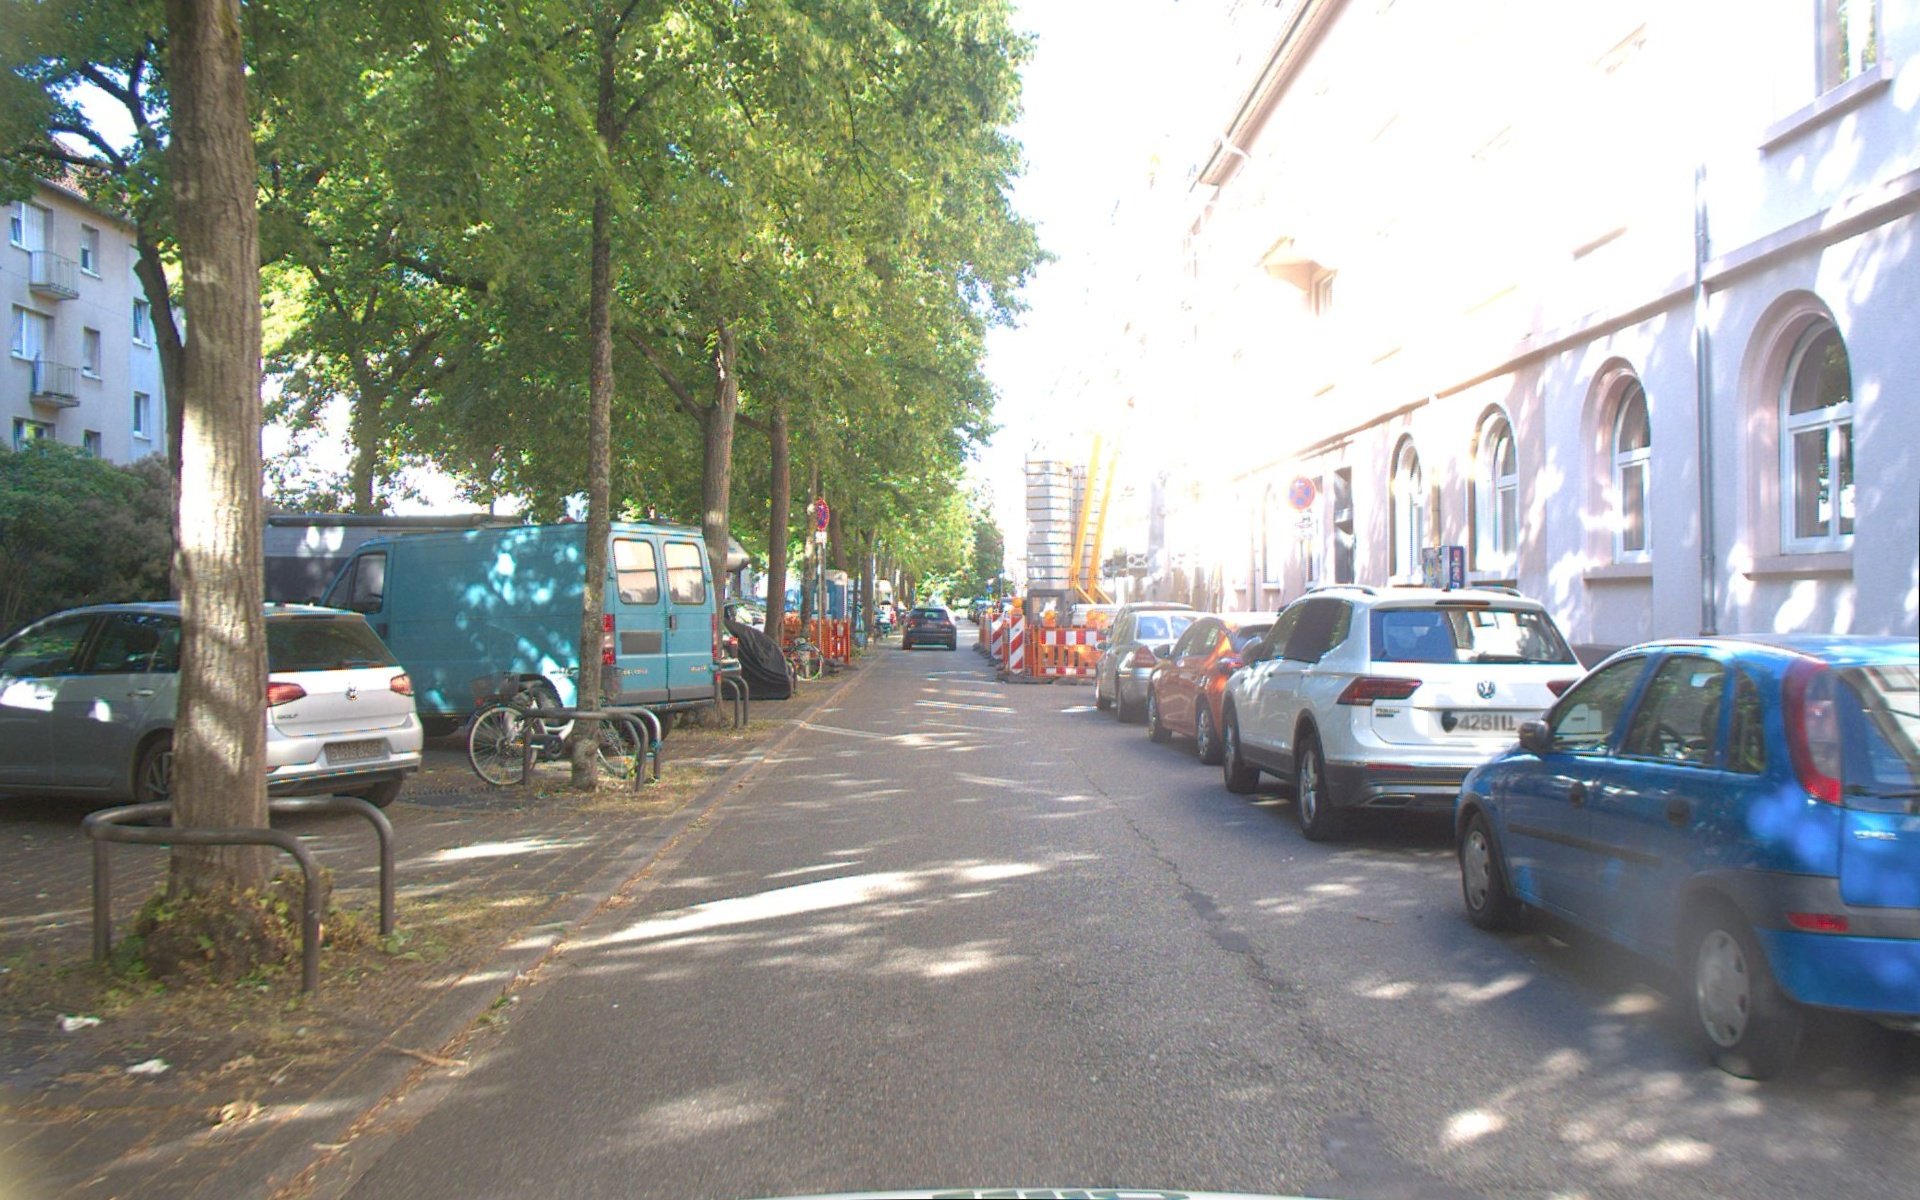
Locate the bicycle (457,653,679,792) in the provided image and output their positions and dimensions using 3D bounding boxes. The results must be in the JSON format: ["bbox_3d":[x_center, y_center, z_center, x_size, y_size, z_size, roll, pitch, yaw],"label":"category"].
[{"bbox_3d":[-3.198,0.975,13.558,1.702,1.023,0.506,-1,0,-31],"label":"bicycle"}]

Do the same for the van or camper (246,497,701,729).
[{"bbox_3d":[-6.359,0.175,21.443,5.756,2.683,2.252,-1,0,29],"label":"van or camper"}]

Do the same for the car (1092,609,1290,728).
[{"bbox_3d":[3.027,0.856,22.617,1.953,1.434,4.499,0,0,-2],"label":"car"}]

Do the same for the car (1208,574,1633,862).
[{"bbox_3d":[3.101,0.697,12.208,1.779,1.703,4.672,0,0,-1],"label":"car"}]

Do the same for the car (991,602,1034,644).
[{"bbox_3d":[2.444,1.054,77.453,1.760,1.832,3.584,-1,0,-2],"label":"car"}]

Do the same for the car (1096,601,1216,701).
[{"bbox_3d":[3.169,0.796,27.180,1.559,1.557,2.779,0,0,-2],"label":"car"}]

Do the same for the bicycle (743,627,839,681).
[{"bbox_3d":[-3.257,1.033,31.873,1.858,1.024,0.430,-1,0,23],"label":"bicycle"}]

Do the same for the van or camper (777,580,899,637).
[{"bbox_3d":[-5.630,0.387,76.207,5.235,2.518,2.288,-1,0,32],"label":"van or camper"}]

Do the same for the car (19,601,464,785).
[{"bbox_3d":[-6.527,0.756,14.951,3.911,1.456,1.718,0,0,30],"label":"car"}]

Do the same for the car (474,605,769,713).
[{"bbox_3d":[-4.881,0.804,23.806,3.876,1.439,1.821,-1,0,27],"label":"car"}]

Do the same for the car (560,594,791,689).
[{"bbox_3d":[-5.263,0.744,30.596,3.874,1.657,1.822,-1,0,25],"label":"car"}]

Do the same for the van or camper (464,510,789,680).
[{"bbox_3d":[-7.009,-0.067,34.536,6.528,3.297,2.492,-1,0,28],"label":"van or camper"}]

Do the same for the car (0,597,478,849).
[{"bbox_3d":[-5.446,0.732,11.441,3.867,1.468,1.844,0,0,27],"label":"car"}]

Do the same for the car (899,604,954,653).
[{"bbox_3d":[-1.133,0.921,55.254,1.760,1.530,3.584,-1,0,-2],"label":"car"}]

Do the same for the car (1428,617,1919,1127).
[{"bbox_3d":[3.263,0.817,6.766,1.584,1.437,3.787,0,0,-1],"label":"car"}]

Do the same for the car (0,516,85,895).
[{"bbox_3d":[-6.724,0.515,8.541,4.460,1.795,1.807,0,0,30],"label":"car"}]

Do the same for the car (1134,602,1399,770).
[{"bbox_3d":[3.086,0.805,17.489,1.756,1.550,3.959,0,0,-5],"label":"car"}]

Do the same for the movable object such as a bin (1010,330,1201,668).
[{"bbox_3d":[3.129,-2.061,35.566,3.415,6.878,2.363,0,-1,32],"label":"movable object such as a bin"}]

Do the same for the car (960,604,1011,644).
[{"bbox_3d":[0.949,0.887,63.004,1.760,1.409,3.584,-1,0,-2],"label":"car"}]

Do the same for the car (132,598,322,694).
[{"bbox_3d":[-15.266,0.902,34.768,1.780,1.835,4.846,-2,0,0],"label":"car"}]

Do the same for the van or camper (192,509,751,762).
[{"bbox_3d":[-5.092,0.355,17.211,5.386,2.315,2.220,-1,0,23],"label":"van or camper"}]

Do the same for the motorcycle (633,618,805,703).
[{"bbox_3d":[-3.695,0.923,25.418,2.495,1.280,0.763,0,0,7],"label":"motorcycle"}]

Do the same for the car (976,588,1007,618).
[{"bbox_3d":[1.973,0.205,104.035,1.760,1.832,3.584,-1,0,-2],"label":"car"}]
